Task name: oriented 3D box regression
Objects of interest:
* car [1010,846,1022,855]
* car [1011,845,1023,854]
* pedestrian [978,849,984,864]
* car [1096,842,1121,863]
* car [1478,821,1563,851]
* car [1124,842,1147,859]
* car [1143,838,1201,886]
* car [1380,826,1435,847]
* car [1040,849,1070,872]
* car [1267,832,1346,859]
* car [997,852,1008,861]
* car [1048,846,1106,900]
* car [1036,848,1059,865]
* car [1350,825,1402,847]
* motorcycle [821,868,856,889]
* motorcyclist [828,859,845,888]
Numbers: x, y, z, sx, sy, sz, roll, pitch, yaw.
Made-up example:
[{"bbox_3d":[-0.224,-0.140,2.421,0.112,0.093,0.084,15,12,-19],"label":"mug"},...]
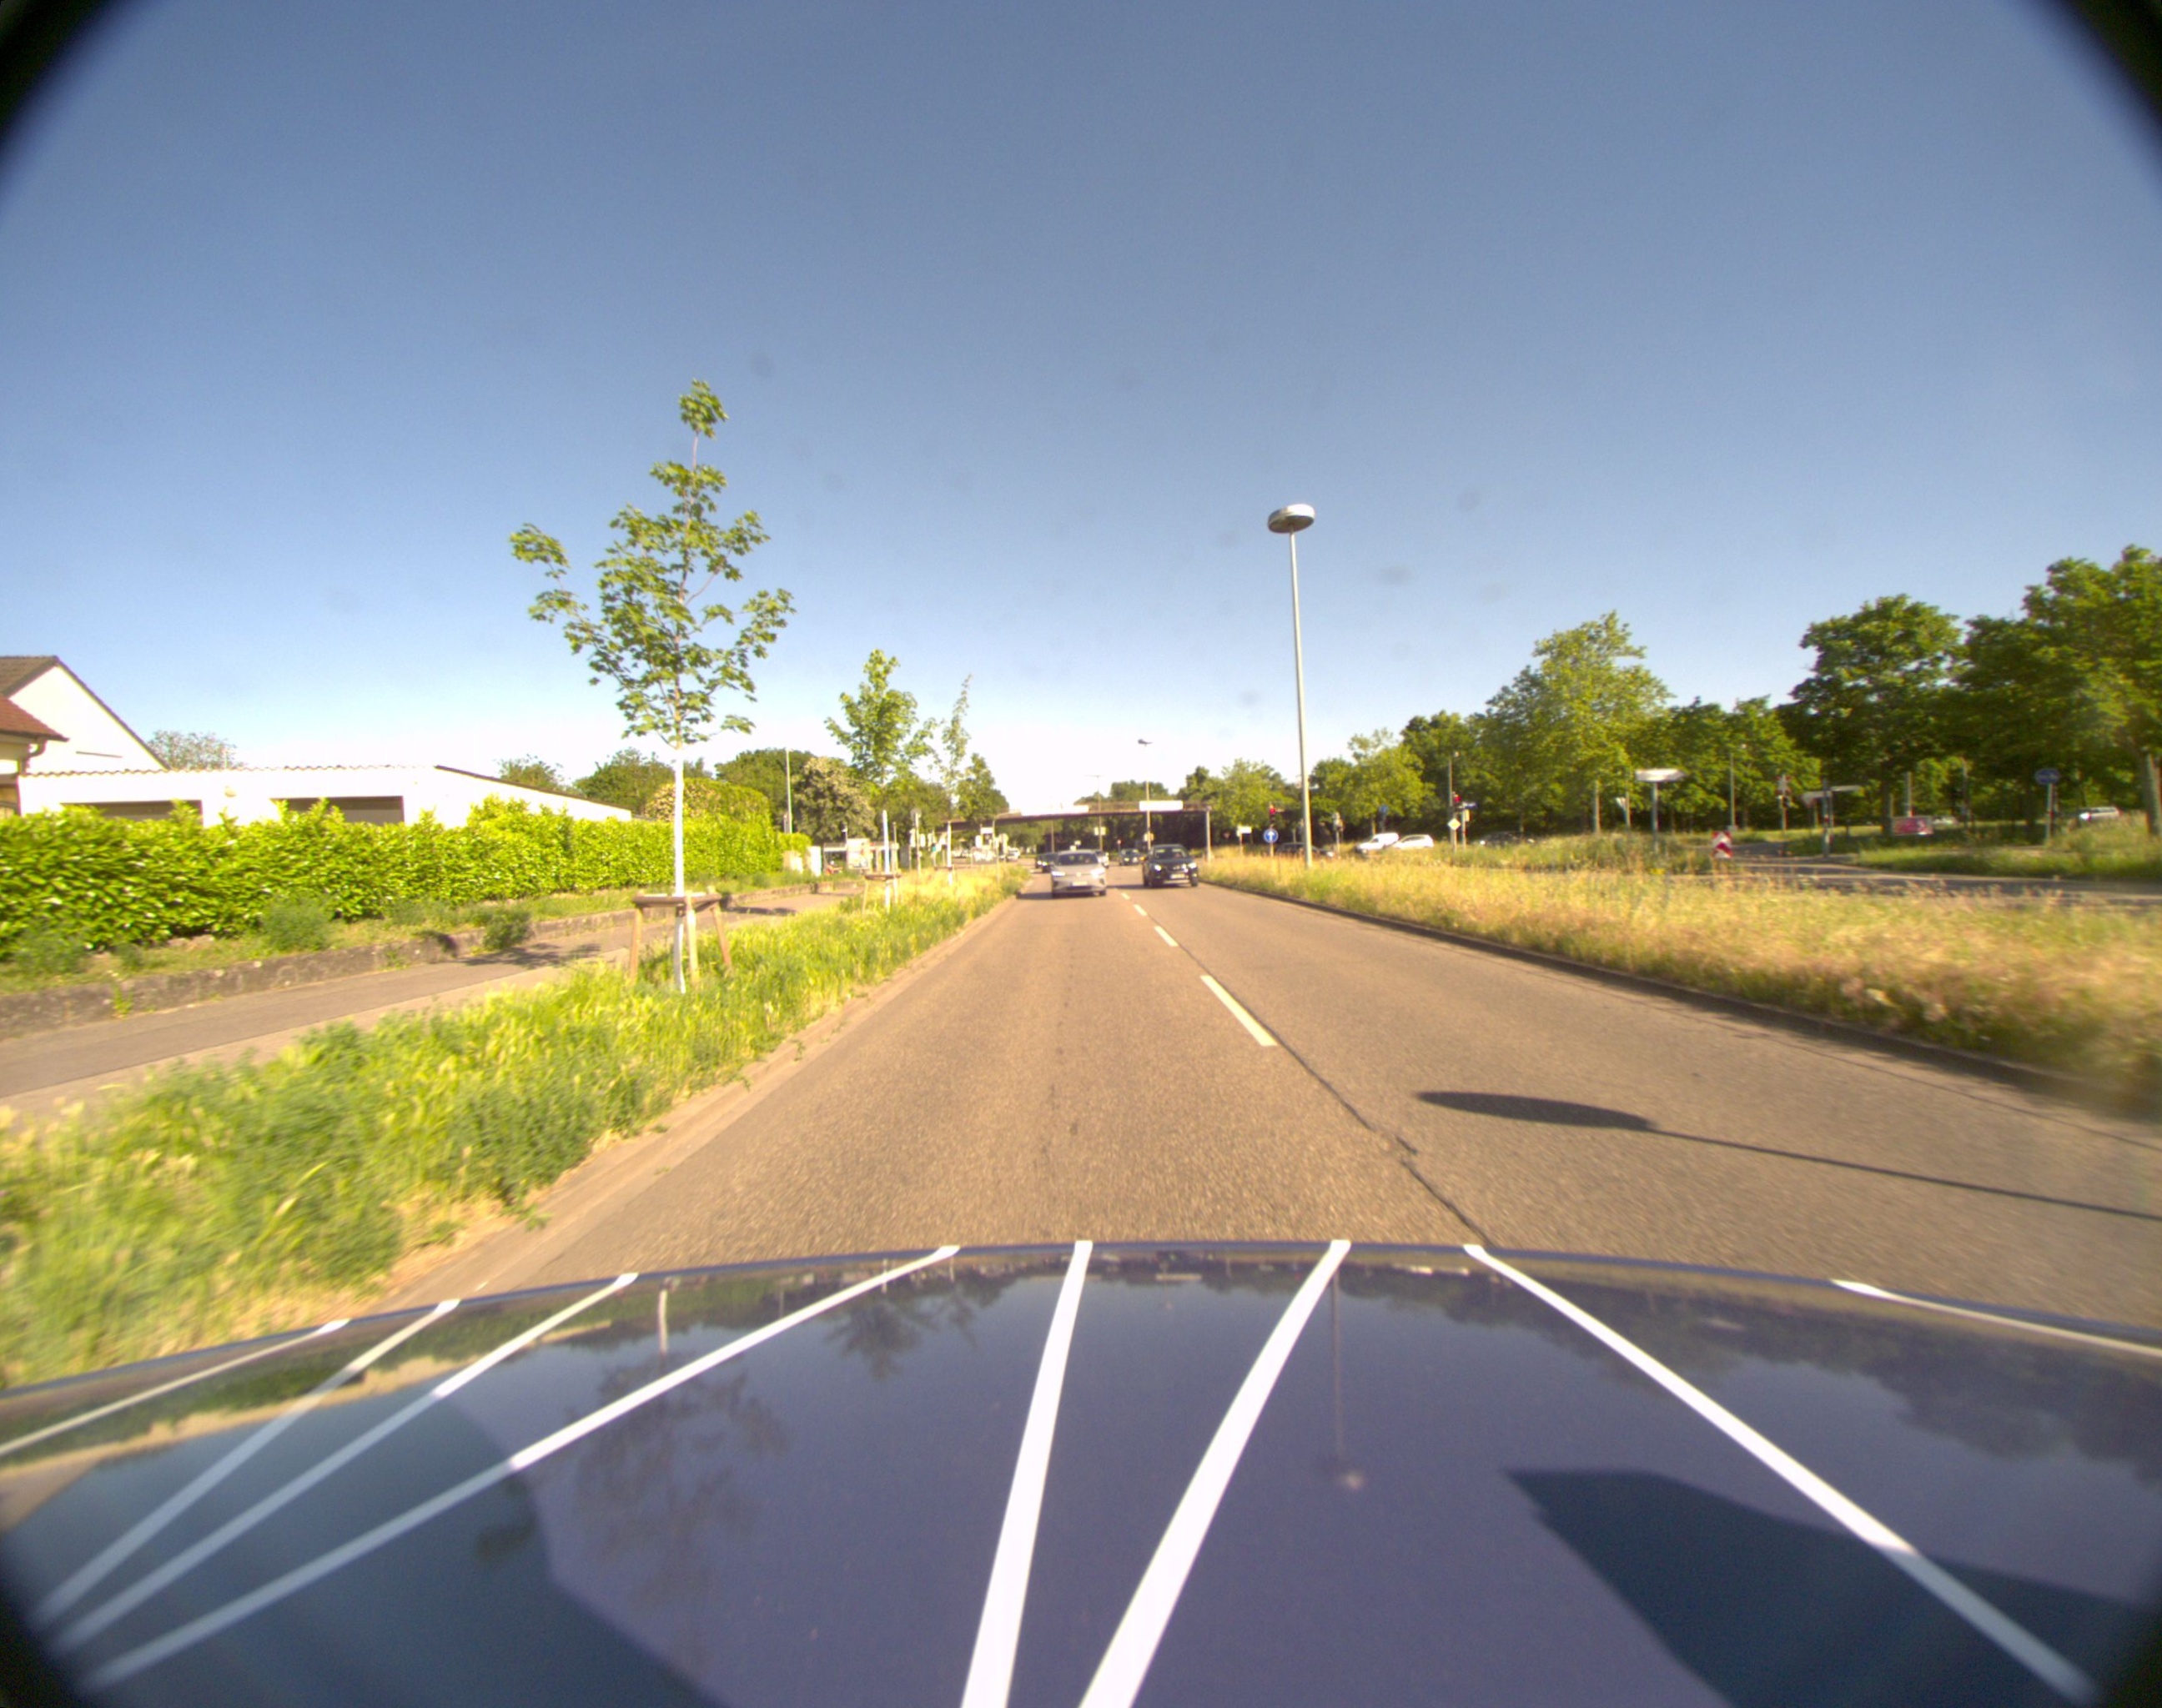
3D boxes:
[{"bbox_3d":[-11.744,-0.632,136.906,1.874,1.611,3.833,-3,1,-8],"label":"car"},{"bbox_3d":[-13.744,-0.975,163.349,2.000,2.002,3.996,-3,1,-11],"label":"car"},{"bbox_3d":[-11.360,0.314,86.655,0.589,1.652,0.716,-2,1,-9],"label":"pedestrian"},{"bbox_3d":[2.255,-0.143,62.875,1.830,1.604,4.091,-3,1,0],"label":"car"},{"bbox_3d":[27.701,-1.132,47.915,4.386,1.561,1.846,-4,0,-9],"label":"car"},{"bbox_3d":[4.893,-0.280,67.665,1.794,1.487,4.004,0,0,8],"label":"car"},{"bbox_3d":[3.479,0.266,29.643,1.714,1.653,3.855,-4,1,0],"label":"car"},{"bbox_3d":[28.373,-1.510,66.062,3.925,1.551,1.851,-3,1,-8],"label":"car"},{"bbox_3d":[-2.090,0.468,59.462,1.874,1.611,3.833,-3,1,-8],"label":"car"},{"bbox_3d":[14.518,-0.533,49.019,4.518,1.478,1.783,-4,0,31],"label":"car"},{"bbox_3d":[-15.828,0.545,153.220,1.875,1.611,3.832,-3,1,-11],"label":"car"},{"bbox_3d":[-0.072,0.623,27.202,1.801,1.664,4.239,-4,0,2],"label":"car"},{"bbox_3d":[-3.390,0.264,76.747,1.874,1.611,3.833,-3,1,-8],"label":"car"},{"bbox_3d":[26.861,-1.645,69.257,3.999,1.744,1.776,-3,1,-8],"label":"car"},{"bbox_3d":[-13.405,1.360,42.062,1.760,1.065,0.451,-2,1,0],"label":"motorcycle"},{"bbox_3d":[-13.533,1.089,42.056,0.695,1.549,0.699,-2,1,0],"label":"motorcyclist"}]
